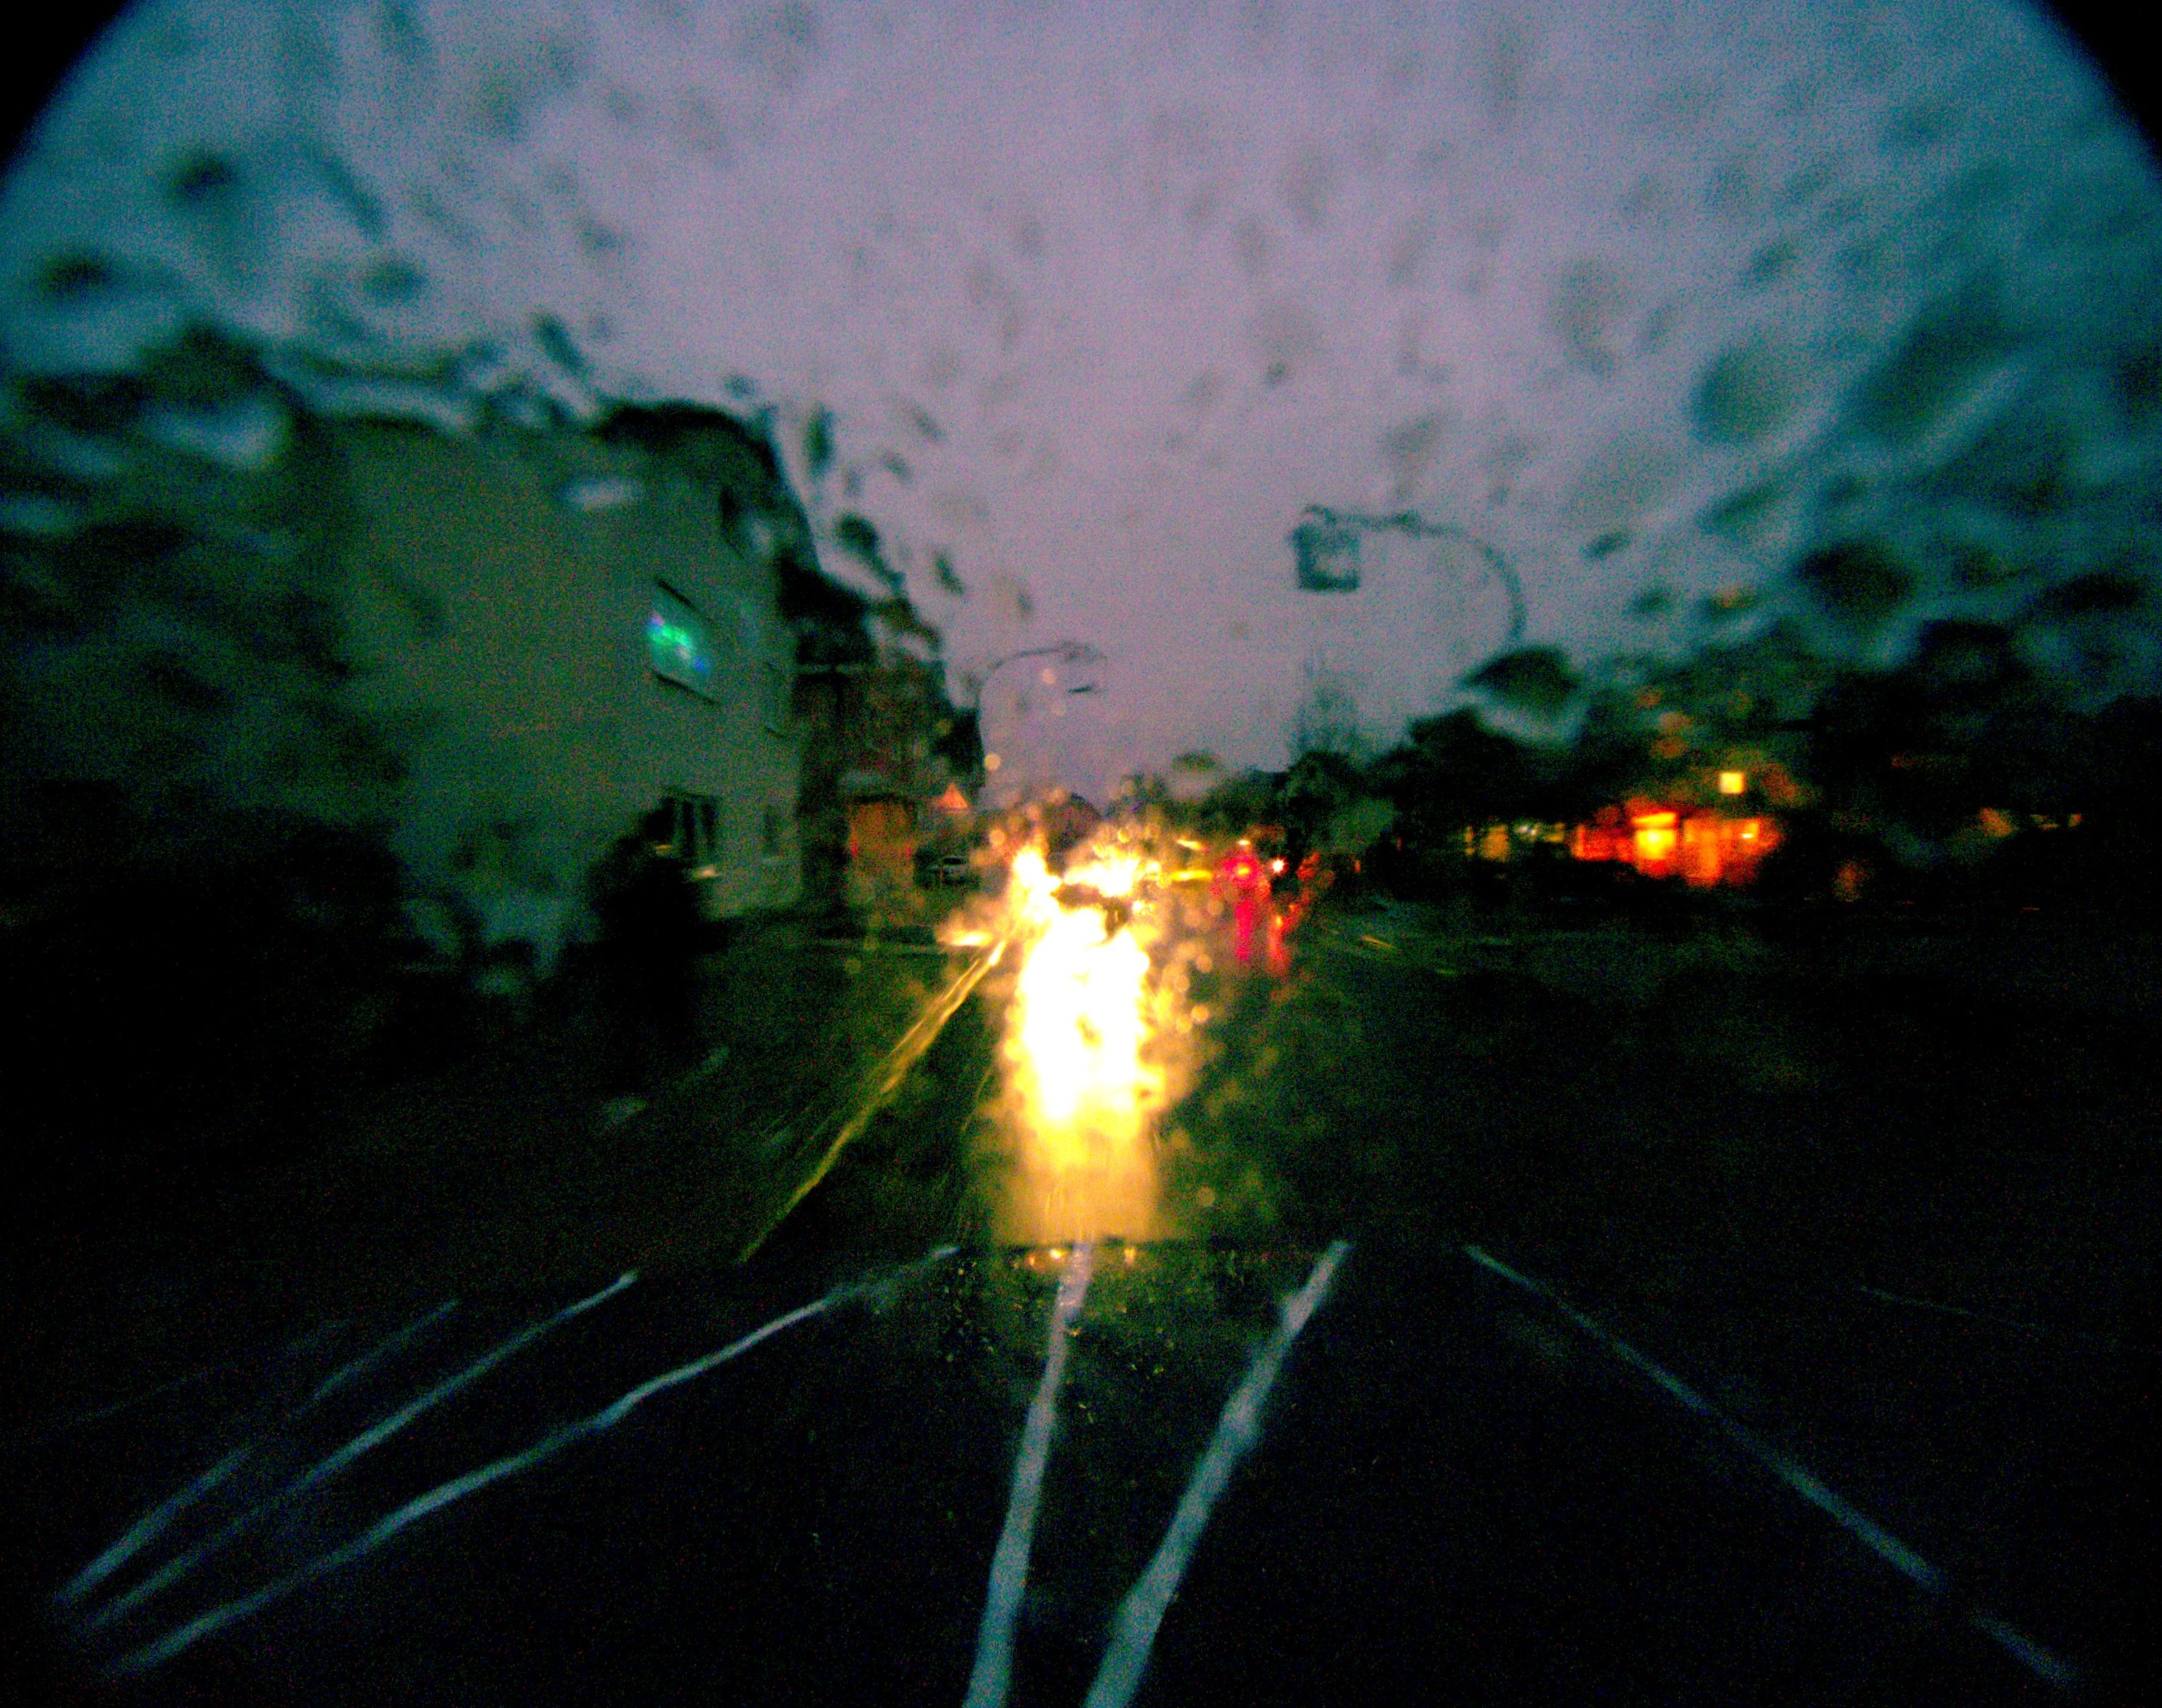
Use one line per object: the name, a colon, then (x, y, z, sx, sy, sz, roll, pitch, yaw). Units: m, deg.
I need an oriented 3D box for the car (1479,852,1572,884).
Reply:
car: (22.712, 0.673, 39.029, 2.000, 1.555, 3.996, 0, 0, -11)

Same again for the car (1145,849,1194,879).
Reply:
car: (4.996, 0.539, 43.463, 1.881, 1.526, 3.669, -2, 1, -8)

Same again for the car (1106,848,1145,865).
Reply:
car: (4.460, 0.237, 75.991, 3.840, 1.537, 2.000, -2, 1, 4)

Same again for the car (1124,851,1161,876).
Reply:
car: (4.100, 0.630, 50.988, 1.840, 1.526, 4.137, -2, 1, -4)

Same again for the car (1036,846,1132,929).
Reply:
car: (-0.055, 0.705, 18.432, 1.999, 1.720, 3.998, -2, 1, -4)

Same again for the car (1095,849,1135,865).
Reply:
car: (3.535, 0.287, 78.567, 3.995, 1.538, 2.001, -2, 1, 7)

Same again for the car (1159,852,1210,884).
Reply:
car: (5.094, 0.646, 38.075, 1.699, 1.423, 4.375, -2, 0, -3)

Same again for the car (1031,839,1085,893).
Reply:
car: (-0.883, 0.440, 31.222, 1.999, 2.002, 3.999, -2, 1, 0)

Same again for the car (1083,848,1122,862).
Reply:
car: (2.300, 0.065, 81.451, 3.996, 1.291, 2.000, -2, 1, 2)

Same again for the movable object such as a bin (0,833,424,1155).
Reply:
movable object such as a bin: (-5.140, 0.718, 4.498, 1.397, 1.634, 1.261, 1, 0, -4)

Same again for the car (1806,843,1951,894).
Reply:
car: (30.180, 0.529, 28.803, 4.002, 1.833, 1.997, 0, 1, -13)

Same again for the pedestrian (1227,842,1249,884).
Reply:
pedestrian: (7.572, 0.430, 36.646, 0.902, 2.002, 0.791, -1, 1, 6)

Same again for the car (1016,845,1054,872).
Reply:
car: (-3.424, 0.311, 55.935, 2.001, 1.844, 3.995, -2, 1, -14)

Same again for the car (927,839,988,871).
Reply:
car: (-6.284, 0.066, 39.189, 1.934, 1.476, 4.698, -2, 0, 5)

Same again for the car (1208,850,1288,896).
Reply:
car: (6.092, 0.631, 28.183, 1.789, 1.480, 4.180, -2, 1, -3)

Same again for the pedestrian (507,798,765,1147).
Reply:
pedestrian: (-2.623, 0.651, 4.628, 0.969, 1.878, 1.005, 2, 1, -4)

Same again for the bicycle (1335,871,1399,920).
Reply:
bicycle: (6.569, 0.939, 17.549, 0.325, 1.055, 1.742, 4, -2, -17)

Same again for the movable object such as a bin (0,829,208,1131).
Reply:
movable object such as a bin: (-6.509, 0.670, 4.497, 1.289, 1.634, 1.185, 1, 0, -4)
